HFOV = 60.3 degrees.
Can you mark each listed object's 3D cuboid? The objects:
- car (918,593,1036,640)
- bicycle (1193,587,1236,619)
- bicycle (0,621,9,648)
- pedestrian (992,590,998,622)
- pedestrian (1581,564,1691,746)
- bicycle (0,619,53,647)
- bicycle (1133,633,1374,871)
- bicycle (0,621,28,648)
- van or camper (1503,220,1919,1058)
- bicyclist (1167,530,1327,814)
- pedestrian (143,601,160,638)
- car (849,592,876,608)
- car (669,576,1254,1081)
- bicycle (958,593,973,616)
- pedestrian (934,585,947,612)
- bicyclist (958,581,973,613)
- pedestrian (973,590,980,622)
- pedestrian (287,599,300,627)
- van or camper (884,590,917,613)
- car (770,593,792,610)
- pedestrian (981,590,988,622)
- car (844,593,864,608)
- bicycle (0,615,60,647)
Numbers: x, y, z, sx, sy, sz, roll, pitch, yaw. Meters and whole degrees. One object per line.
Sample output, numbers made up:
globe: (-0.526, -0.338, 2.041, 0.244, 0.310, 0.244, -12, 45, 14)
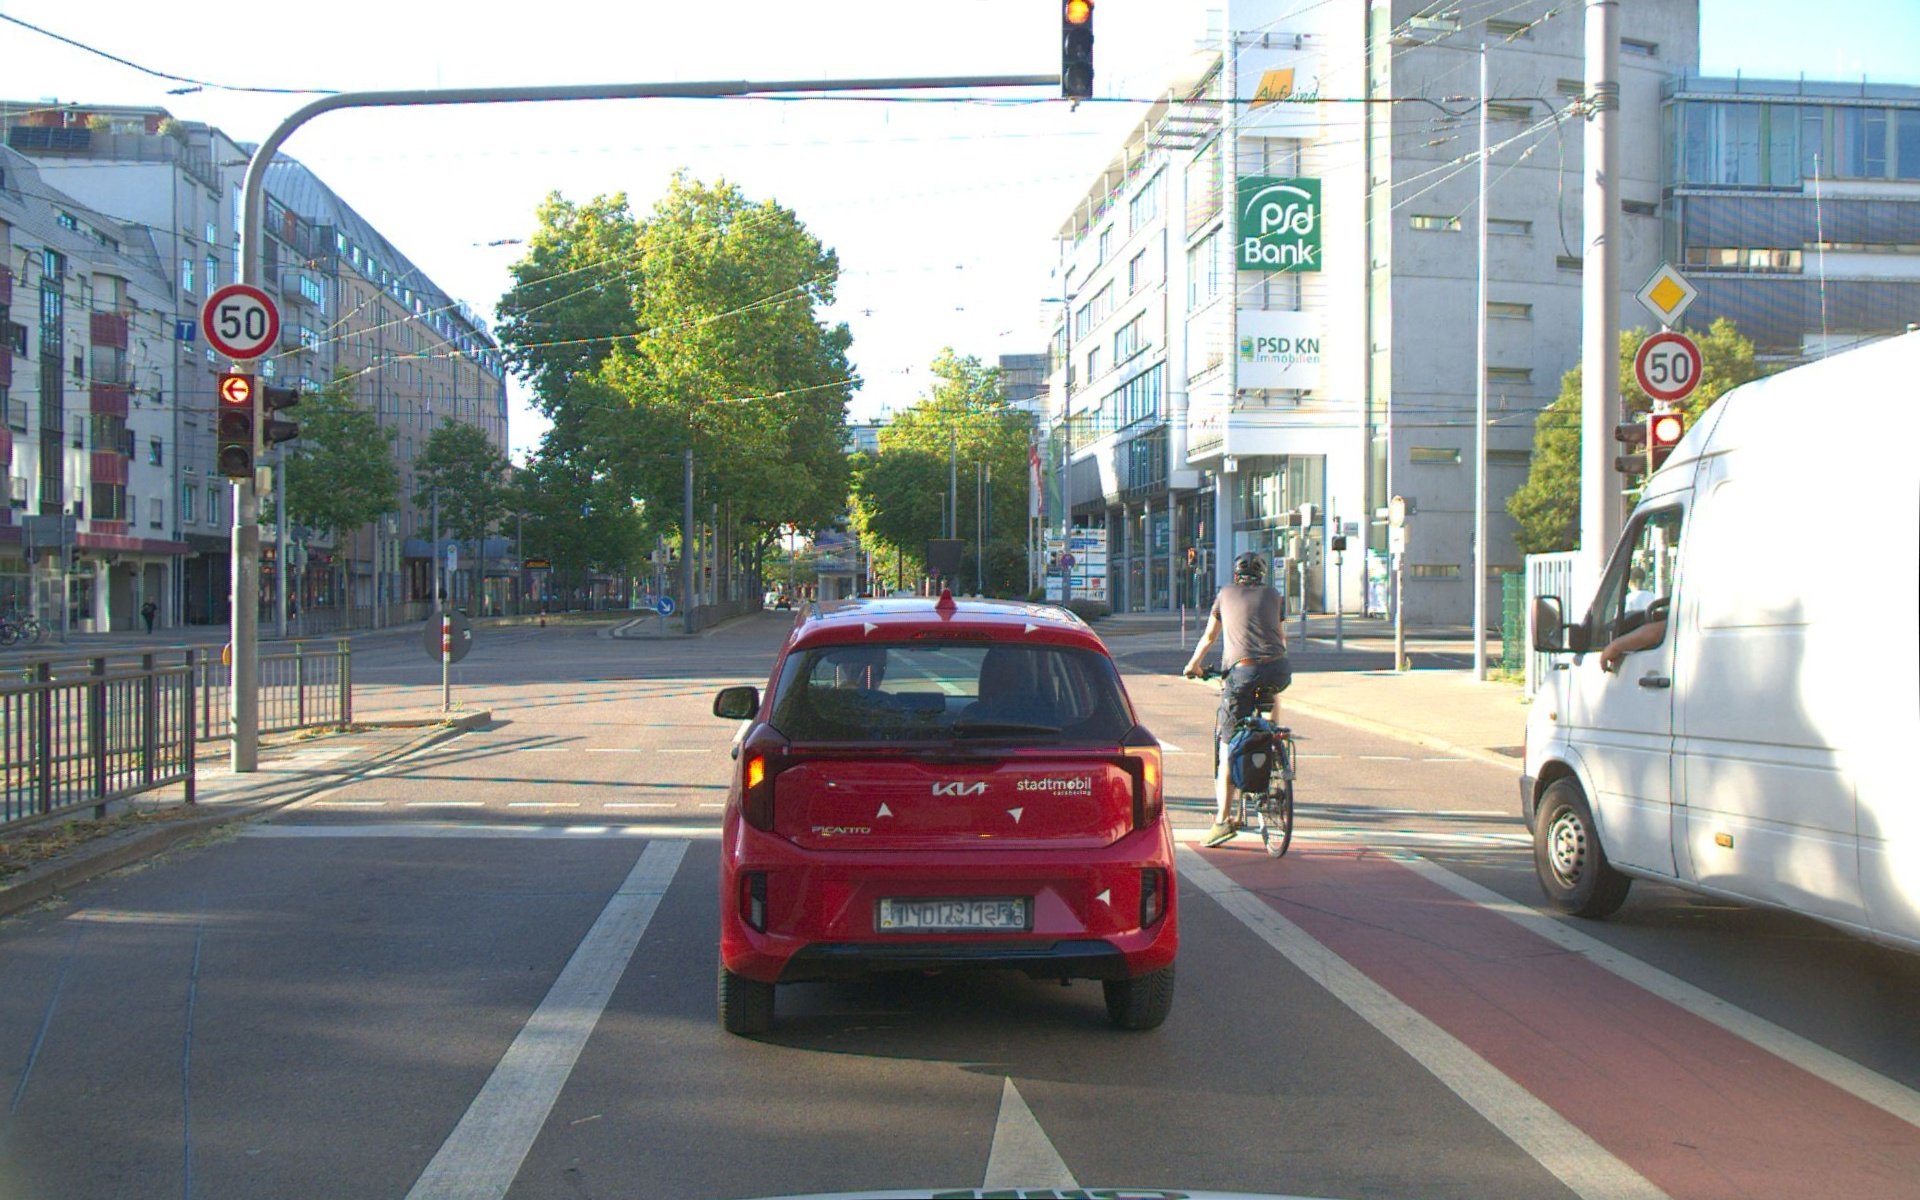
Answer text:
car: (0.579, 0.587, 59.269, 1.835, 1.595, 4.205, -1, 0, -44)
bicycle: (11.609, 0.133, 75.456, 1.898, 1.468, 0.574, 0, 0, -7)
bicycle: (-29.863, 1.051, 49.678, 2.129, 0.801, 0.639, -1, 0, -9)
pedestrian: (1.763, 0.321, 82.581, 0.288, 1.589, 0.314, -1, 0, 2)
pedestrian: (6.786, 0.537, 16.634, 0.770, 1.779, 0.772, -1, 0, -1)
bicycle: (-29.687, 1.034, 51.825, 2.129, 0.838, 0.527, -1, 0, -9)
bicycle: (1.764, 0.873, 10.333, 0.730, 1.245, 2.150, 1, 1, -11)
bicycle: (-29.689, 1.052, 50.461, 2.129, 0.801, 0.491, -1, 0, -9)
van or camper: (4.287, 0.154, 5.712, 2.224, 2.781, 6.340, 2, 0, -5)
bicyclist: (1.782, 0.433, 10.331, 0.730, 1.698, 0.743, 1, 0, -12)
pedestrian: (-32.894, 0.779, 67.318, 0.501, 1.484, 0.526, -1, 0, -13)
car: (-9.805, -0.037, 166.297, 2.431, 1.555, 4.424, -1, 0, -7)
car: (-0.150, 0.676, 6.947, 1.804, 1.515, 3.712, 0, 0, -5)
bicycle: (0.288, 0.248, 87.789, 0.776, 1.182, 2.500, 0, 0, 0)
pedestrian: (-1.238, -0.113, 106.000, 0.729, 1.746, 0.746, 0, 0, -10)
bicyclist: (0.278, -0.172, 87.780, 0.769, 1.663, 0.639, 0, 0, 0)
pedestrian: (0.808, 0.314, 82.375, 0.288, 1.589, 0.302, -1, 0, -5)
pedestrian: (-35.505, 0.667, 88.151, 0.500, 1.484, 0.527, -1, 0, -8)
van or camper: (-4.768, 0.112, 132.305, 2.105, 1.781, 4.423, -1, 0, -9)
car: (-19.022, 0.127, 175.332, 2.020, 1.682, 3.483, -1, 0, -11)
pedestrian: (1.232, 0.316, 82.447, 0.288, 1.589, 0.355, -1, 0, -3)
car: (-11.609, 0.008, 180.589, 1.850, 1.555, 4.423, -1, 0, -8)
bicycle: (-29.794, 0.983, 52.459, 2.129, 0.967, 0.491, -1, 0, -9)
